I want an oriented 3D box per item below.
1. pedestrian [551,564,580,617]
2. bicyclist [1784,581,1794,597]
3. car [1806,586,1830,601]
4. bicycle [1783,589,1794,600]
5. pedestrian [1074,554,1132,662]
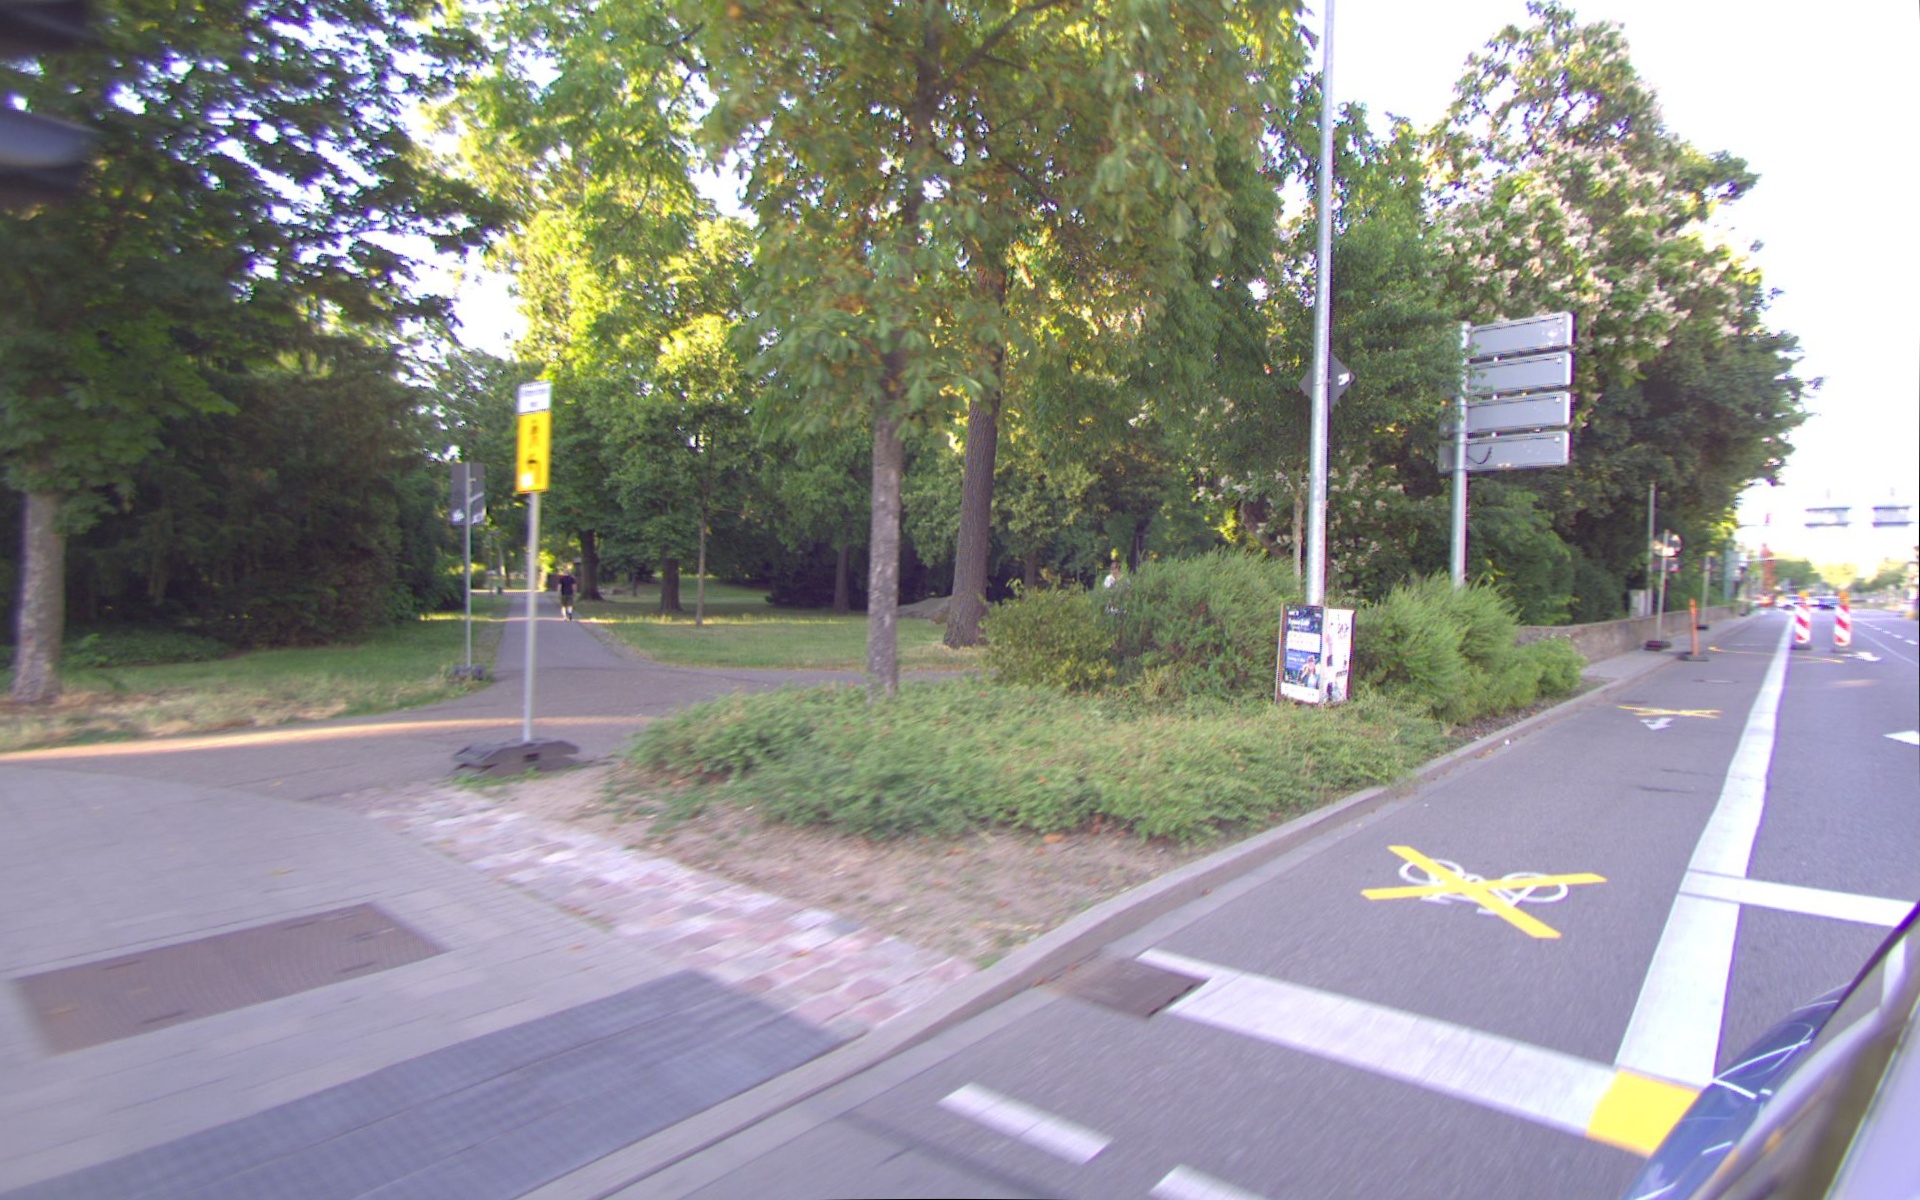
[{"bbox_3d":[-12.463,-0.296,32.014,0.819,1.644,0.818,0,1,-18],"label":"pedestrian"},{"bbox_3d":[89.560,-1.173,109.316,0.755,1.722,0.704,-3,1,-44],"label":"bicyclist"},{"bbox_3d":[92.815,-0.725,109.449,1.828,1.617,4.195,1,1,42],"label":"car"},{"bbox_3d":[89.407,-0.616,109.174,2.010,1.064,0.719,-2,1,-44],"label":"bicycle"},{"bbox_3d":[2.532,0.124,17.889,0.787,1.855,0.765,1,1,28],"label":"pedestrian"}]
